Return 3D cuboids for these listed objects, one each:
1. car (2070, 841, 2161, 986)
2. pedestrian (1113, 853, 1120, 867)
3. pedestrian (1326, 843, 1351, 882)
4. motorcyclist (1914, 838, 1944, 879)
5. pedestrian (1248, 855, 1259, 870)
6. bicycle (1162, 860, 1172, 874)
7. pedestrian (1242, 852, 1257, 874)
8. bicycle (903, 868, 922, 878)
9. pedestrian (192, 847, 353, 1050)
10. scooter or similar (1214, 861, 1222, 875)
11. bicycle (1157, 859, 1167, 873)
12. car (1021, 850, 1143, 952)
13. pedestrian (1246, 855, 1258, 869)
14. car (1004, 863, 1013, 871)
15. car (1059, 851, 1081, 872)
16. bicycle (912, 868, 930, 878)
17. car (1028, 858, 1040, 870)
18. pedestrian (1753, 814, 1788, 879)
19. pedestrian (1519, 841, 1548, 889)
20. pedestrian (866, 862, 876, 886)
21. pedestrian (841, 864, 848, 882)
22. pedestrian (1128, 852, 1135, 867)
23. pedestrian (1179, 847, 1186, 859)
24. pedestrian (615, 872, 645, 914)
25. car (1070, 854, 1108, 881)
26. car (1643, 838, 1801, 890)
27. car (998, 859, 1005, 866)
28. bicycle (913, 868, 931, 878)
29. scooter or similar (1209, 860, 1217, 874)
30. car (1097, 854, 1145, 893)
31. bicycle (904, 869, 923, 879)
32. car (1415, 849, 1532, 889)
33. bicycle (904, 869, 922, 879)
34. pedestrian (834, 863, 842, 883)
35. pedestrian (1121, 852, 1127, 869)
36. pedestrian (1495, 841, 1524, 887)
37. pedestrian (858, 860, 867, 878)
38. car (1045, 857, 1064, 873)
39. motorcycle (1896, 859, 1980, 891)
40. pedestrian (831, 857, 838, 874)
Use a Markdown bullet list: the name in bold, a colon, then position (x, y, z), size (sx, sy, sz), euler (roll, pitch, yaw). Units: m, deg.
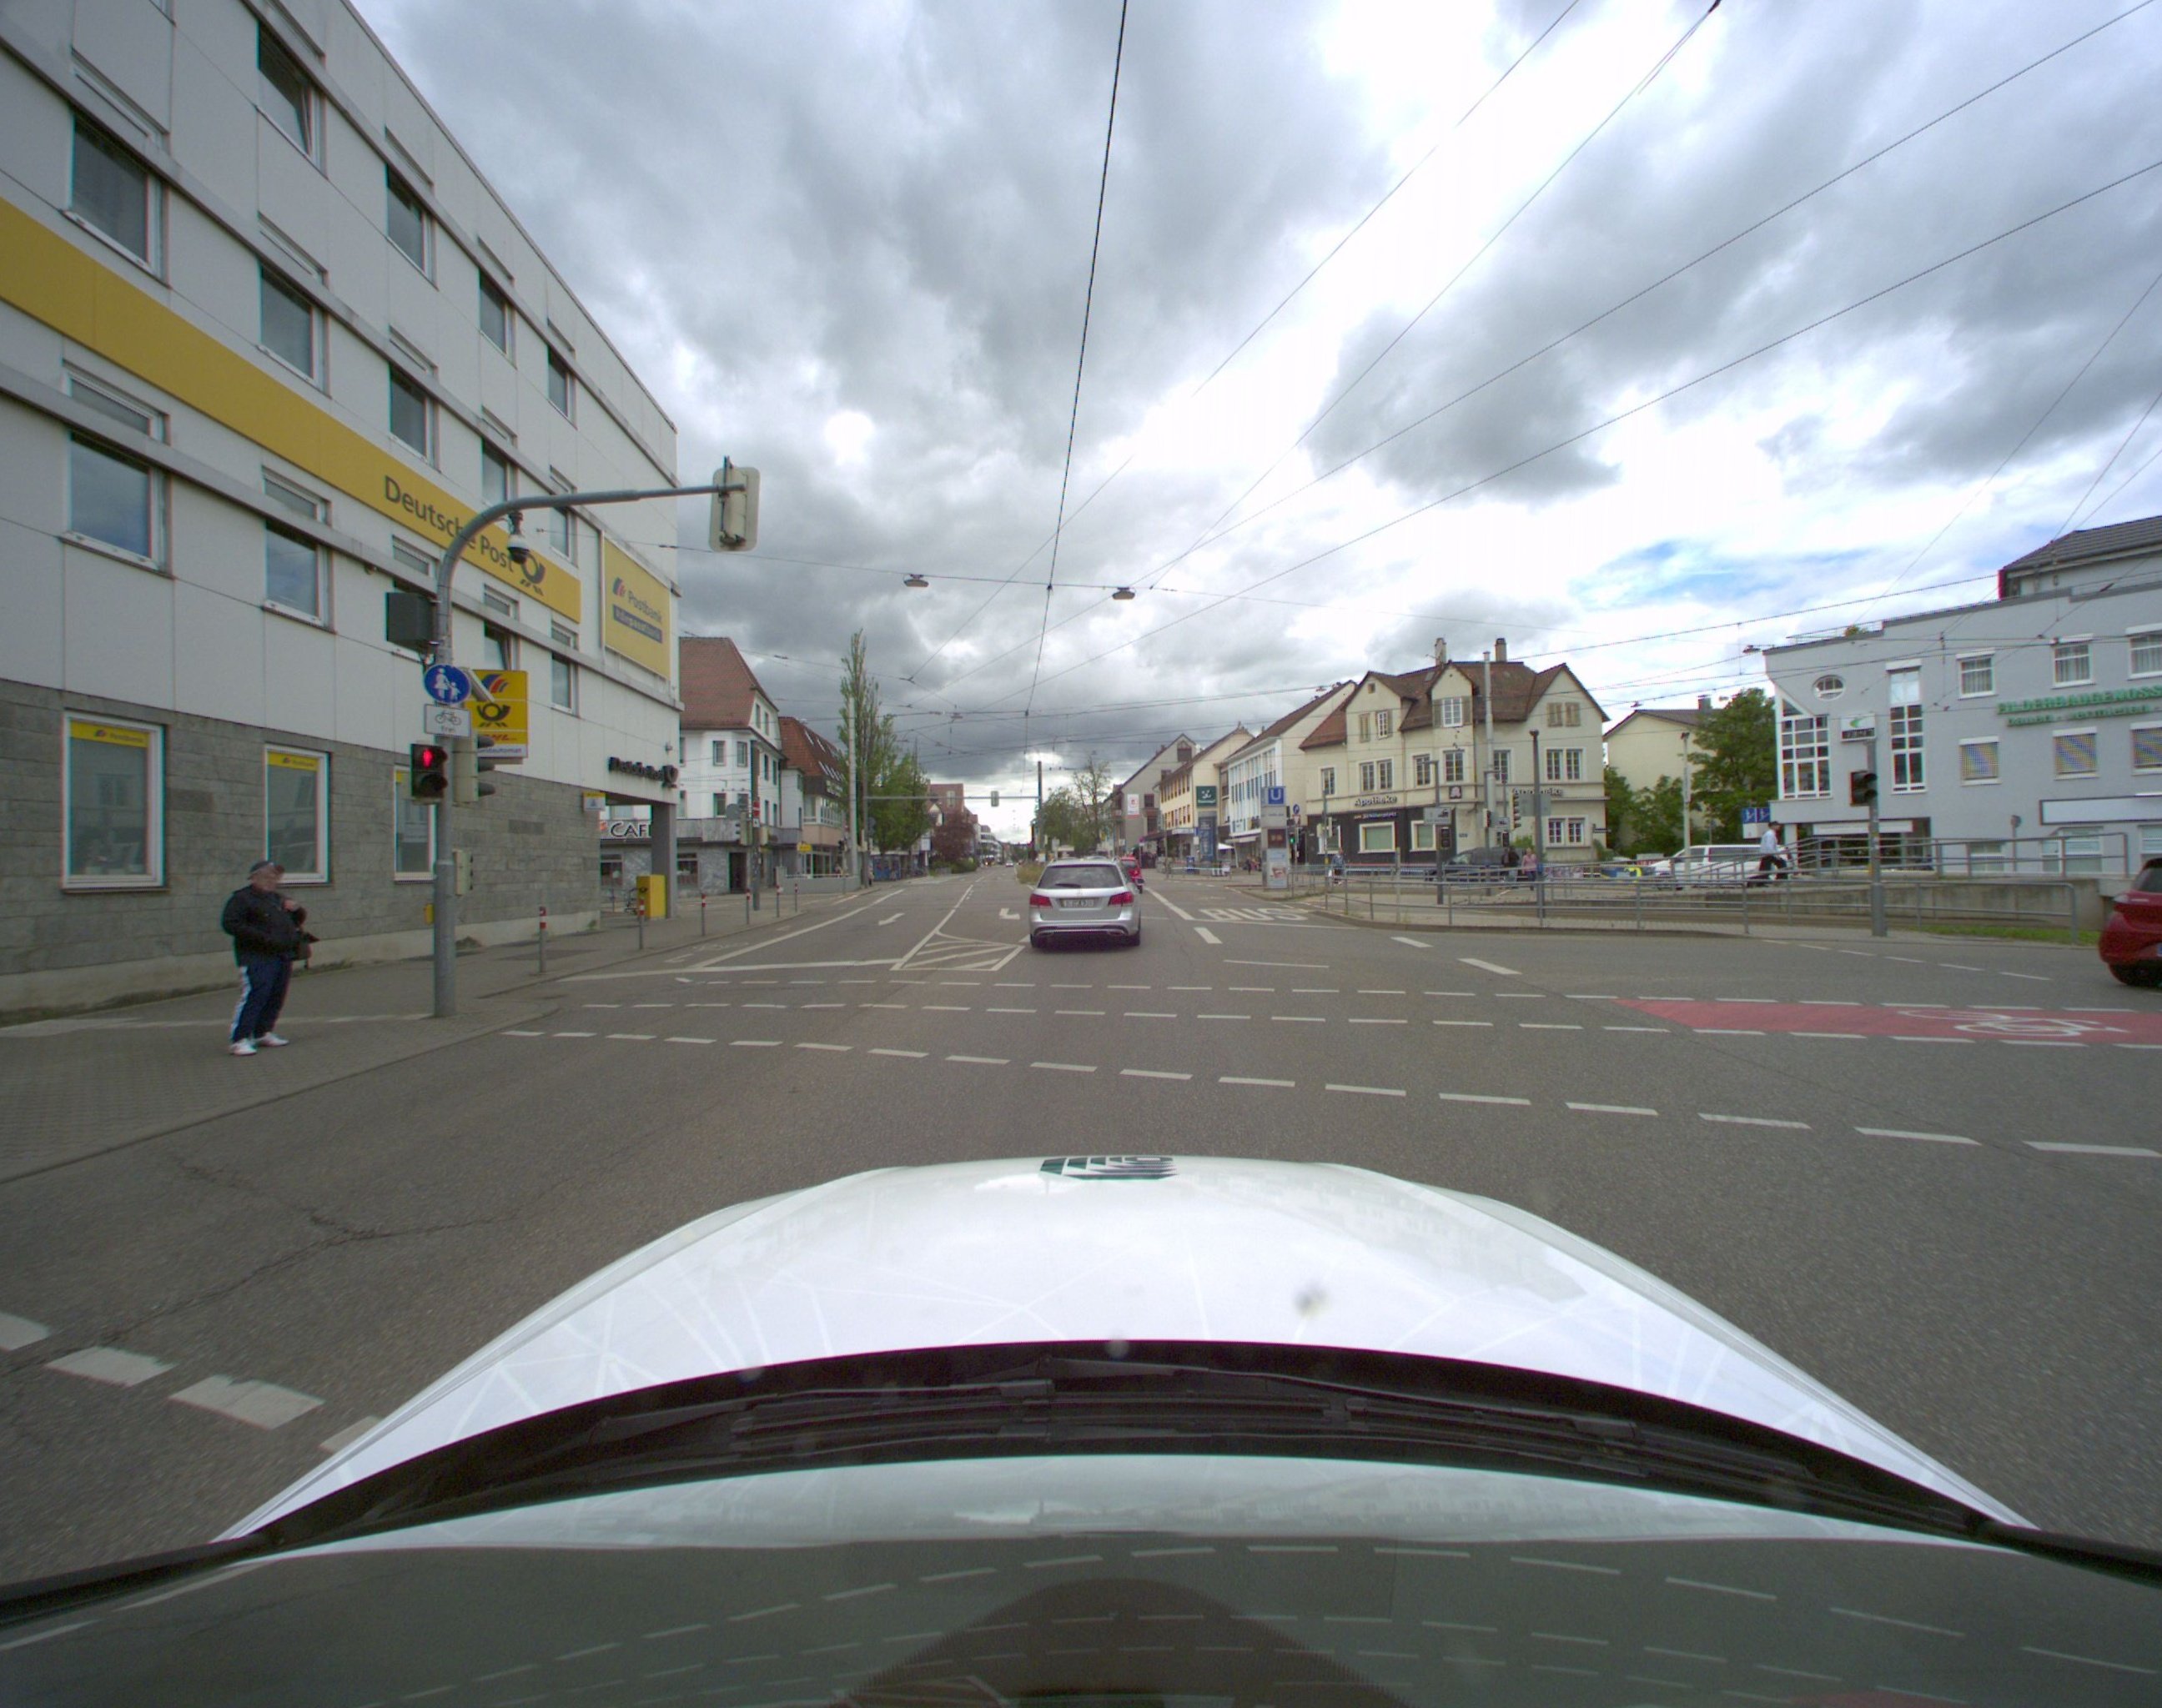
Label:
- **car**: position (12.827, 0.578, 8.202), size (3.980, 1.452, 1.701), euler (0, 0, -5)
- **pedestrian**: position (3.579, 0.627, 82.498), size (0.578, 1.435, 0.648), euler (0, -1, -11)
- **pedestrian**: position (11.738, 0.398, 37.144), size (0.840, 1.718, 0.725), euler (-2, -1, -8)
- **motorcyclist**: position (29.404, 0.158, 28.241), size (0.768, 1.394, 0.684), euler (1, -2, -44)
- **pedestrian**: position (13.738, 0.650, 64.816), size (0.735, 1.164, 0.641), euler (0, -1, -7)
- **bicycle**: position (7.023, 1.019, 66.457), size (0.447, 1.107, 2.146), euler (-2, 0, -4)
- **pedestrian**: position (12.484, 0.661, 60.242), size (0.644, 1.591, 0.890), euler (0, -1, -25)
- **bicycle**: position (-17.963, 2.070, 86.812), size (1.941, 1.029, 0.527), euler (0, -1, -15)
- **pedestrian**: position (-7.219, 0.801, 7.310), size (0.645, 1.718, 0.783), euler (0, 0, 2)
- **scooter or similar**: position (10.015, 1.038, 59.493), size (0.271, 1.001, 1.026), euler (-2, -1, -8)
- **bicycle**: position (6.575, 0.992, 66.417), size (0.447, 1.091, 2.146), euler (-2, 0, -4)
- **car**: position (0.165, 0.732, 14.647), size (1.837, 1.508, 4.176), euler (-2, 0, 4)
- **pedestrian**: position (14.157, 0.635, 67.455), size (0.735, 1.164, 0.641), euler (0, -1, -7)
- **car**: position (-17.300, 3.064, 193.793), size (1.991, 2.014, 3.991), euler (-1, 0, -7)
- **car**: position (-1.028, 0.630, 72.834), size (1.731, 1.759, 3.995), euler (-2, 0, -4)
- **bicycle**: position (-17.616, 2.096, 89.583), size (1.941, 1.029, 0.527), euler (0, -1, -15)
- **car**: position (-8.312, 1.757, 143.520), size (1.991, 2.014, 3.991), euler (-1, 0, -7)
- **pedestrian**: position (18.440, -0.198, 21.793), size (0.641, 1.718, 0.709), euler (-2, -1, 37)
- **pedestrian**: position (16.594, 0.395, 29.897), size (0.781, 1.718, 0.652), euler (0, 0, 13)
- **pedestrian**: position (-14.222, 1.336, 55.164), size (0.635, 1.606, 0.700), euler (-1, -1, -18)
- **pedestrian**: position (-21.486, 1.699, 73.886), size (0.579, 1.606, 0.640), euler (-1, -1, -18)
- **pedestrian**: position (4.914, 0.574, 79.199), size (0.577, 1.469, 0.649), euler (0, -1, -9)
- **pedestrian**: position (10.223, -0.107, 82.269), size (0.532, 1.218, 0.578), euler (0, -1, -7)
- **pedestrian**: position (-15.770, 1.349, 28.467), size (0.497, 1.414, 0.756), euler (-1, -1, 20)
- **car**: position (0.442, 0.800, 48.553), size (1.732, 1.508, 3.990), euler (-2, 0, -7)
- **car**: position (25.535, 0.427, 32.586), size (2.001, 1.919, 4.724), euler (1, -2, -44)
- **car**: position (-24.982, 2.720, 255.650), size (1.992, 2.014, 3.989), euler (0, -1, -8)
- **bicycle**: position (-17.335, 2.084, 88.633), size (1.941, 1.029, 0.527), euler (0, -1, -15)
- **scooter or similar**: position (9.653, 0.970, 59.423), size (0.271, 1.001, 1.026), euler (-2, -1, -8)
- **car**: position (1.719, 0.757, 33.998), size (1.725, 1.508, 4.007), euler (-1, 0, 6)
- **bicycle**: position (-17.598, 2.054, 85.590), size (1.941, 1.029, 0.527), euler (0, -1, -15)
- **car**: position (18.538, 0.724, 38.557), size (4.635, 1.821, 1.876), euler (-1, -2, 39)
- **bicycle**: position (-17.787, 2.063, 86.234), size (1.941, 1.029, 0.527), euler (0, -1, -15)
- **pedestrian**: position (-21.627, 1.686, 72.559), size (0.644, 1.836, 0.576), euler (-1, -1, -19)
- **pedestrian**: position (4.407, 0.655, 82.712), size (0.576, 1.666, 0.651), euler (0, -1, 1)
- **pedestrian**: position (16.394, 0.391, 31.189), size (0.702, 1.718, 0.648), euler (-2, -1, -7)
- **pedestrian**: position (-20.795, 1.434, 77.599), size (0.706, 1.606, 0.575), euler (-1, -1, -26)
- **car**: position (-3.087, 1.273, 95.375), size (1.990, 1.750, 3.993), euler (-1, 0, -5)
- **motorcycle**: position (29.529, 0.711, 28.102), size (0.768, 1.073, 1.956), euler (1, -2, -44)
- **pedestrian**: position (-24.008, 1.121, 79.412), size (0.579, 1.606, 0.640), euler (-1, -1, -18)
